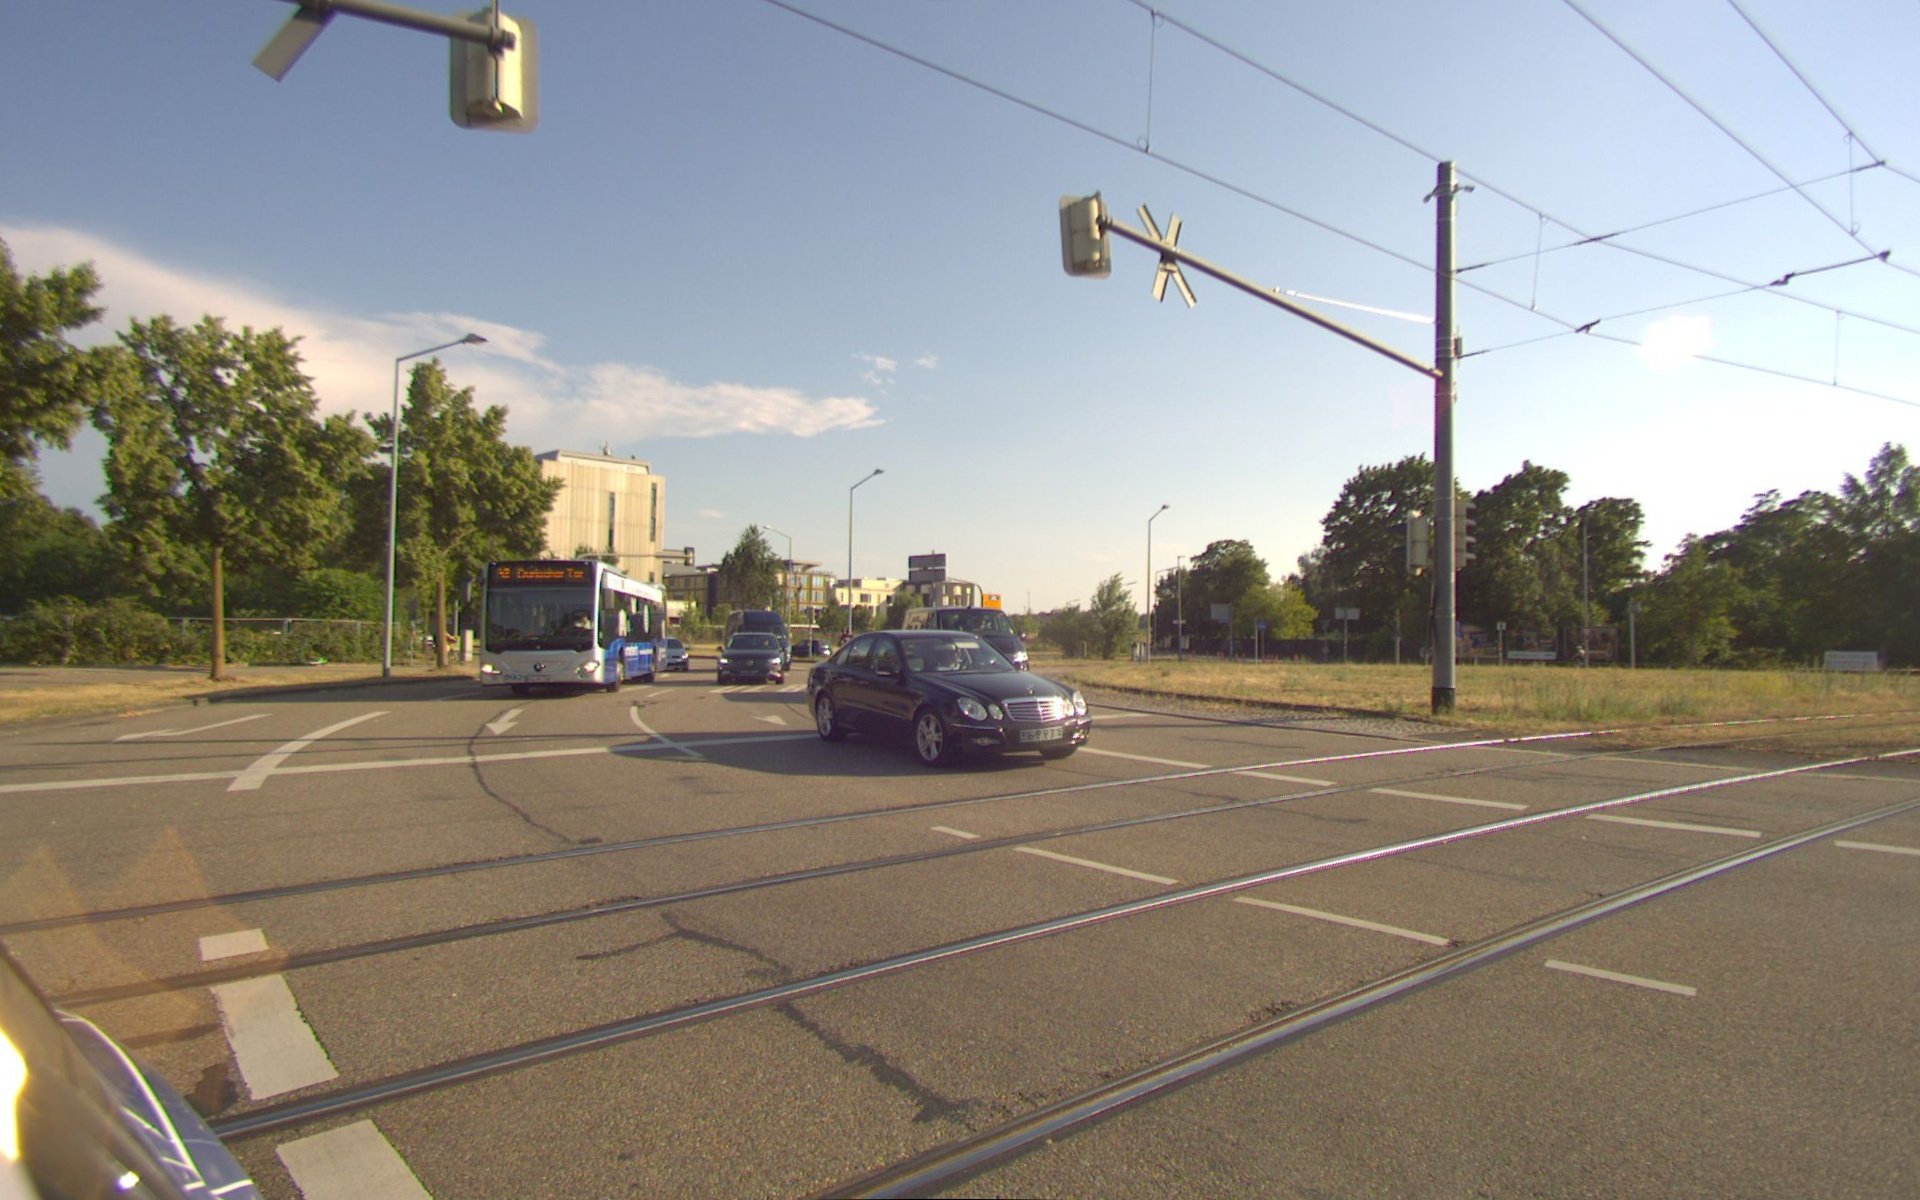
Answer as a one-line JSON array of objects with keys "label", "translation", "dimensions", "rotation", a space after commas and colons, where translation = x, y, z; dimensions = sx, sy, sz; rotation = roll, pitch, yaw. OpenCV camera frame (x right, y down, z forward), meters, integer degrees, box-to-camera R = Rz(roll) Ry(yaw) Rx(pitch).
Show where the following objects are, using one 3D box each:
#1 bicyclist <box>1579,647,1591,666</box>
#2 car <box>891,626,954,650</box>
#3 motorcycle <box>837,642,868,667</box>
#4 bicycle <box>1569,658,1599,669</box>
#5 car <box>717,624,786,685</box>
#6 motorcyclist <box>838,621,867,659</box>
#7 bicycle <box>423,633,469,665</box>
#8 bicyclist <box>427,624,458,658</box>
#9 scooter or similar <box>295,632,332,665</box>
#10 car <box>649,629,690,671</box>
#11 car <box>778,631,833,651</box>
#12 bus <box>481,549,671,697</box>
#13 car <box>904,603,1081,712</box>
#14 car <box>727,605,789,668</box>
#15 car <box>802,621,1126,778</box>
[{"label": "bicyclist", "translation": [42.989, 3.882, 69.640], "dimensions": [0.652, 1.336, 0.513], "rotation": [-1, -3, 32]}, {"label": "car", "translation": [-2.472, 2.498, 67.295], "dimensions": [3.929, 1.537, 1.639], "rotation": [0, -2, 31]}, {"label": "motorcycle", "translation": [-4.672, 2.345, 43.737], "dimensions": [0.939, 0.969, 2.898], "rotation": [1, -2, -14]}, {"label": "bicycle", "translation": [42.920, 4.353, 69.617], "dimensions": [1.715, 0.750, 0.475], "rotation": [-1, -3, 31]}, {"label": "car", "translation": [-5.950, 1.481, 28.801], "dimensions": [1.781, 1.521, 4.172], "rotation": [-1, -1, -12]}, {"label": "motorcyclist", "translation": [-4.650, 1.721, 43.578], "dimensions": [1.024, 1.602, 1.443], "rotation": [1, -2, -14]}, {"label": "bicycle", "translation": [-21.052, 1.996, 41.484], "dimensions": [0.488, 1.165, 1.818], "rotation": [-4, -1, 18]}, {"label": "bicyclist", "translation": [-21.005, 1.669, 41.112], "dimensions": [0.554, 1.373, 0.974], "rotation": [0, -2, 19]}, {"label": "scooter or similar", "translation": [-23.670, 1.773, 37.086], "dimensions": [0.340, 1.168, 1.163], "rotation": [0, -2, 18]}, {"label": "car", "translation": [-12.333, 2.094, 42.933], "dimensions": [1.611, 1.614, 3.536], "rotation": [-1, -1, -16]}, {"label": "car", "translation": [-11.315, 2.961, 73.995], "dimensions": [3.811, 1.359, 1.467], "rotation": [0, -2, 27]}, {"label": "bus", "translation": [-9.662, 0.617, 26.968], "dimensions": [2.555, 3.066, 11.743], "rotation": [0, -1, -10]}, {"label": "car", "translation": [0.495, 1.071, 20.857], "dimensions": [1.830, 1.947, 5.029], "rotation": [0, -1, -21]}, {"label": "car", "translation": [-8.915, 1.546, 44.287], "dimensions": [1.948, 2.537, 5.927], "rotation": [-1, -1, -18]}, {"label": "car", "translation": [-0.191, 0.999, 12.042], "dimensions": [1.780, 1.447, 4.507], "rotation": [-1, -1, -31]}]
